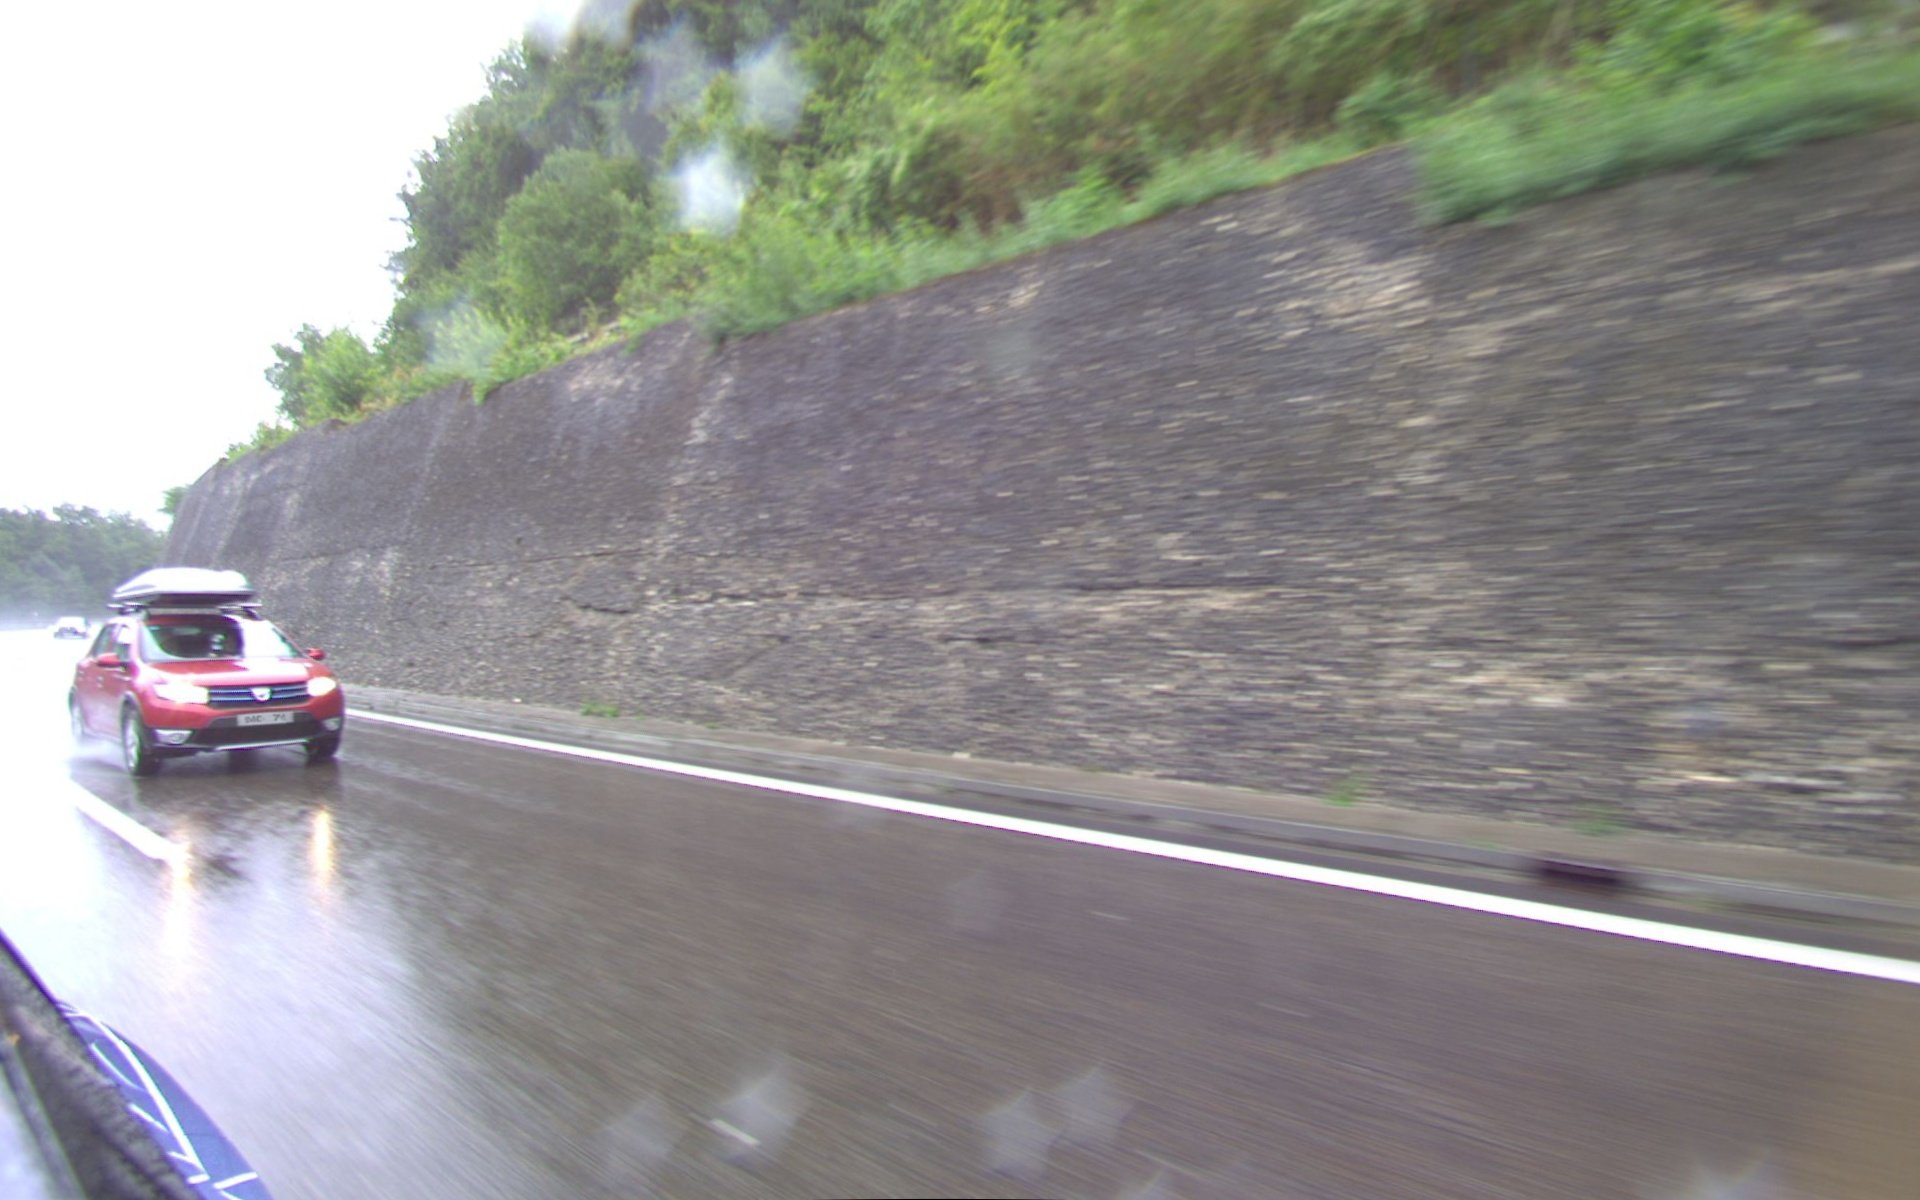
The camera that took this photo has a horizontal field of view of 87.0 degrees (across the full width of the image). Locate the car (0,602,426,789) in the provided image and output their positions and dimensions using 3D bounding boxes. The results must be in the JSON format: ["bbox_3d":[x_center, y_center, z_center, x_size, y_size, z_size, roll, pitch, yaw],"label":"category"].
[{"bbox_3d":[-8.374,0.891,11.112,5.489,1.570,2.332,-2,-2,37],"label":"car"}]

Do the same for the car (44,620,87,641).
[{"bbox_3d":[-62.847,2.117,71.166,1.714,1.412,4.011,-1,0,-34],"label":"car"}]
